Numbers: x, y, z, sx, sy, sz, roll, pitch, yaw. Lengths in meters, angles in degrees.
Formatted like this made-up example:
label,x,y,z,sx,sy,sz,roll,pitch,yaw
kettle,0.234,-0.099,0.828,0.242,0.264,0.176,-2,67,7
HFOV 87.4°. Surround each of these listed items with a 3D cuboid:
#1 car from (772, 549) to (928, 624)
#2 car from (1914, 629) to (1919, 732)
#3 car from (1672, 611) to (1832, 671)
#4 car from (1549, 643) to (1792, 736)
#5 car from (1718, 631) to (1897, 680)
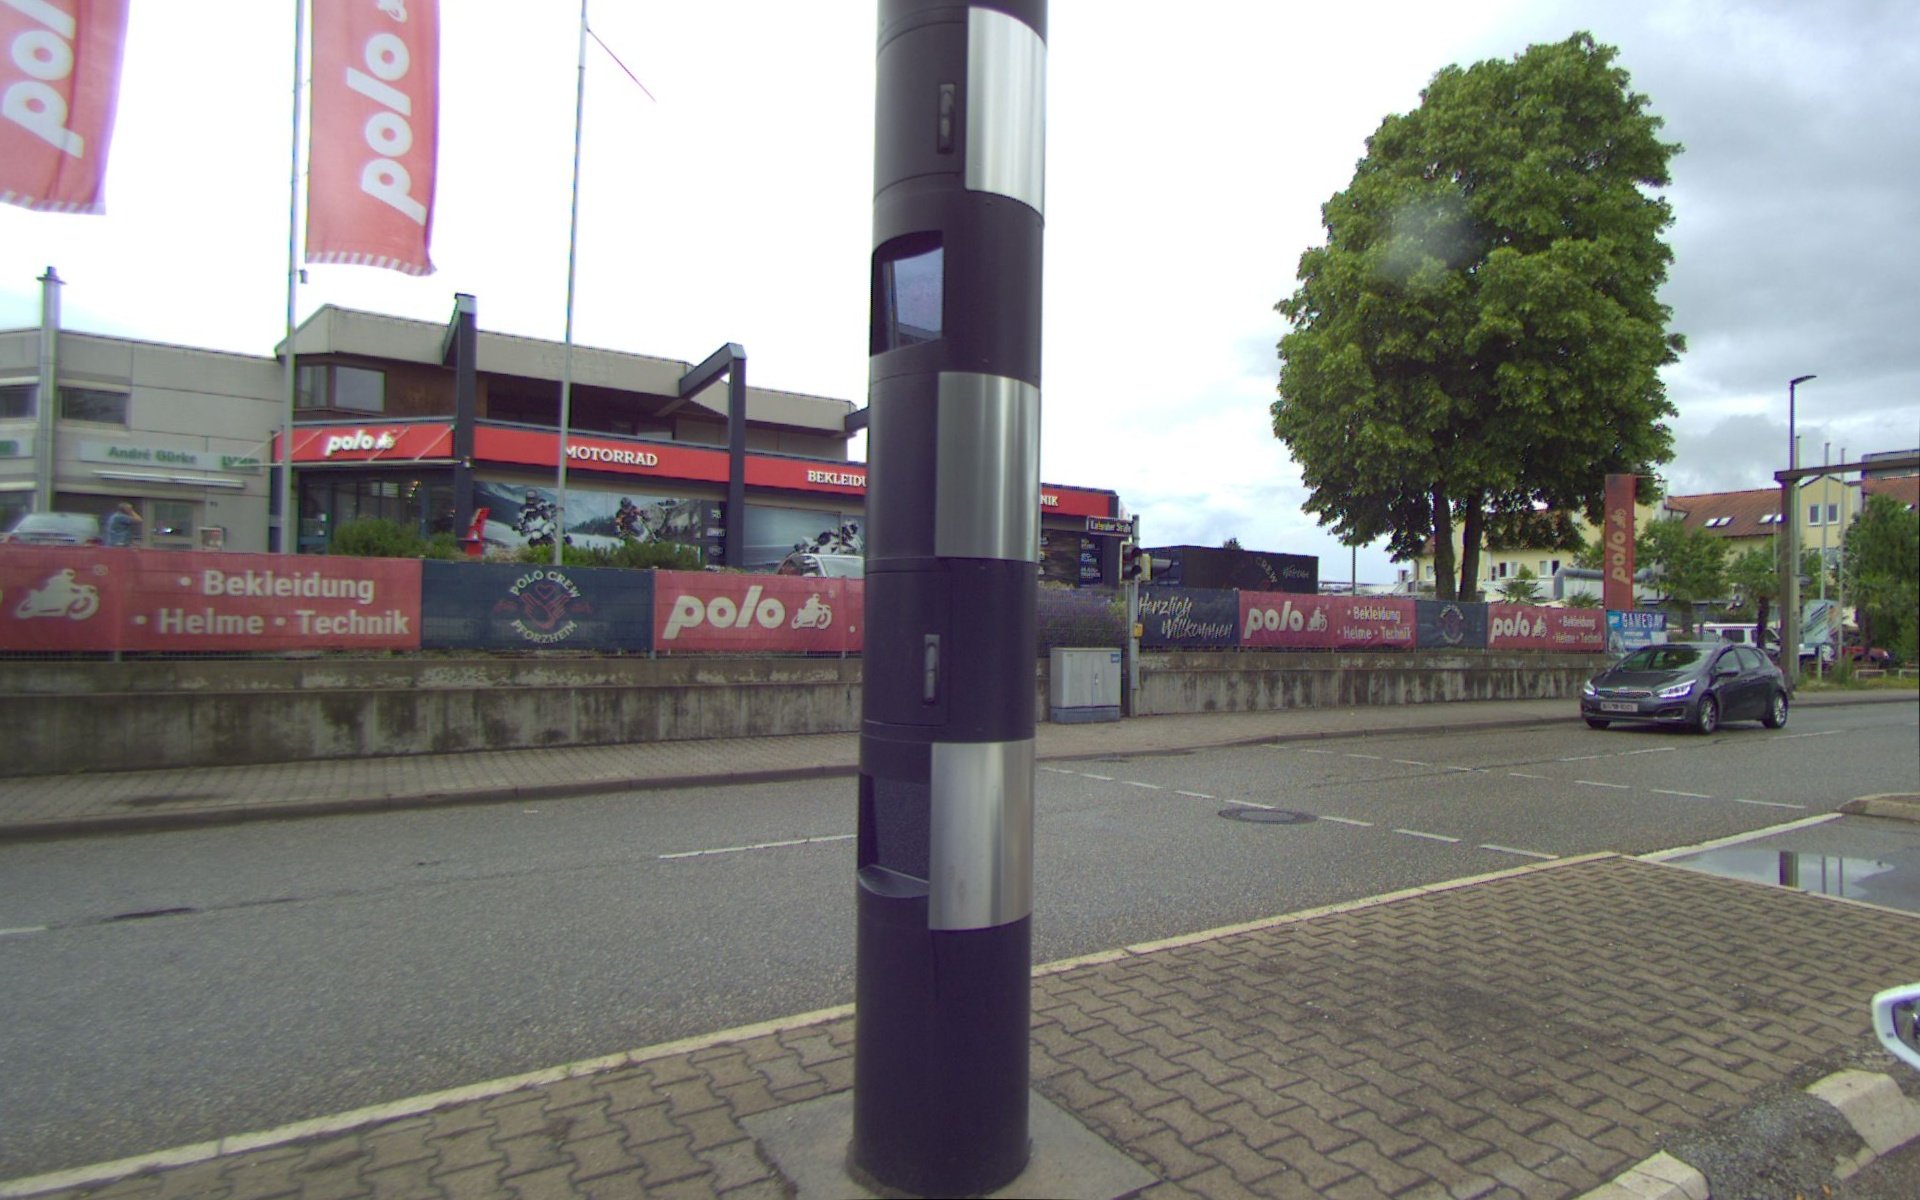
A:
label,x,y,z,sx,sy,sz,roll,pitch,yaw
car,-2.013,-0.183,17.710,1.438,1.183,3.368,1,-1,-32
car,17.761,1.319,16.601,4.248,1.671,1.830,2,-2,-31
car,28.663,1.497,36.575,4.324,2.040,1.996,-2,-3,32
car,12.189,1.448,17.205,4.077,1.397,1.908,1,-2,-31
car,32.106,2.117,38.287,4.927,1.724,1.996,-1,-5,33
